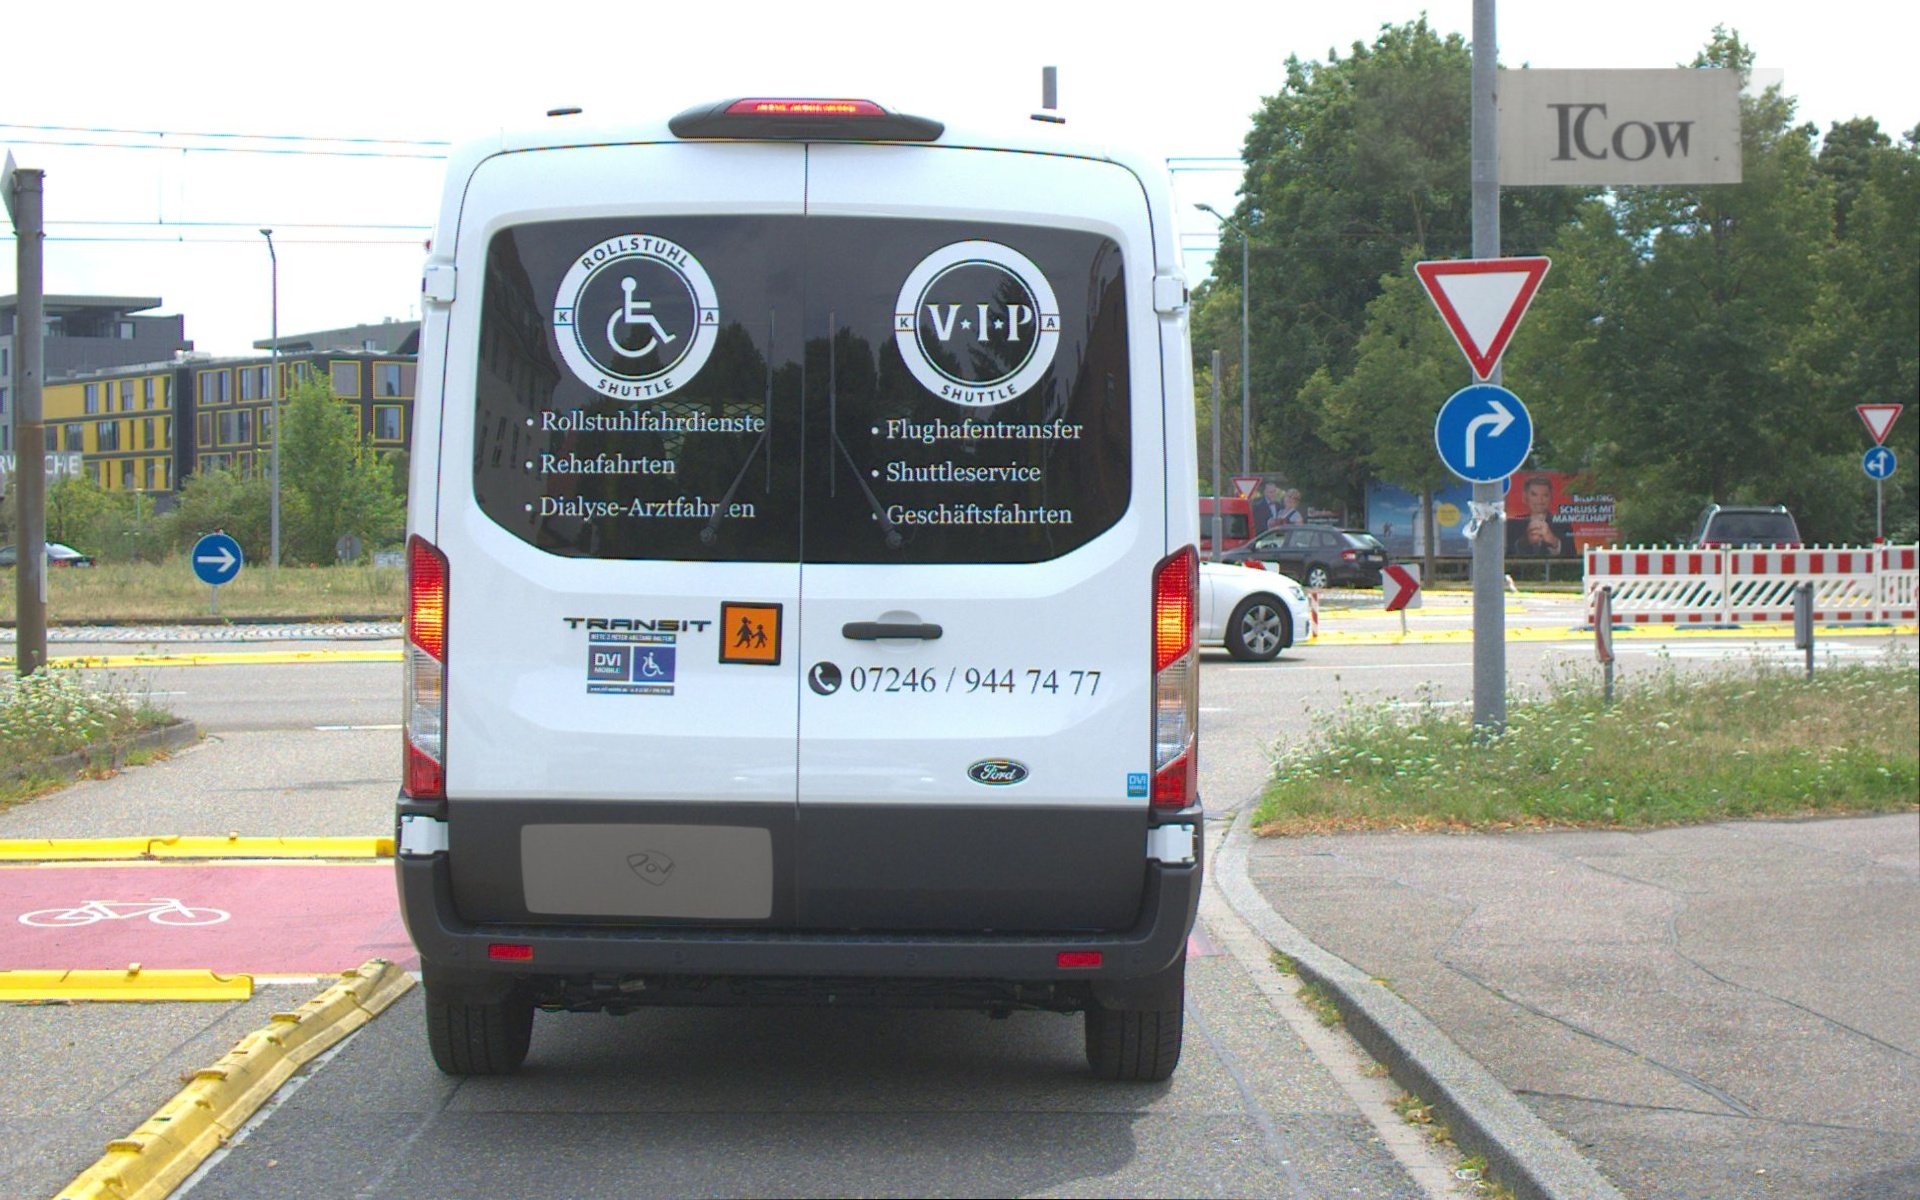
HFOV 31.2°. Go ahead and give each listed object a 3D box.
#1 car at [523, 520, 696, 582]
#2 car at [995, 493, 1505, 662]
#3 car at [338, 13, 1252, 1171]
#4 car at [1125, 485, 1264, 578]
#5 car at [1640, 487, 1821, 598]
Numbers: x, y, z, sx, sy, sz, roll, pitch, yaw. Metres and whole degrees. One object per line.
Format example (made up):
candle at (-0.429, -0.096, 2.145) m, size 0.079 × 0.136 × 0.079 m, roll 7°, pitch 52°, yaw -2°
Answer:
car at (-9.596, -1.363, 94.224) m, size 4.341 × 1.660 × 1.938 m, roll -1°, pitch 1°, yaw -35°
car at (2.928, -0.253, 34.707) m, size 4.735 × 1.612 × 2.001 m, roll -1°, pitch 1°, yaw -22°
car at (-0.326, -0.065, 10.823) m, size 2.126 × 2.688 × 5.632 m, roll 0°, pitch 1°, yaw 1°
car at (5.962, -1.727, 87.920) m, size 2.024 × 2.271 × 4.160 m, roll 1°, pitch 0°, yaw -20°
car at (12.656, -0.921, 56.699) m, size 1.993 × 1.744 × 4.000 m, roll 0°, pitch 0°, yaw -1°
